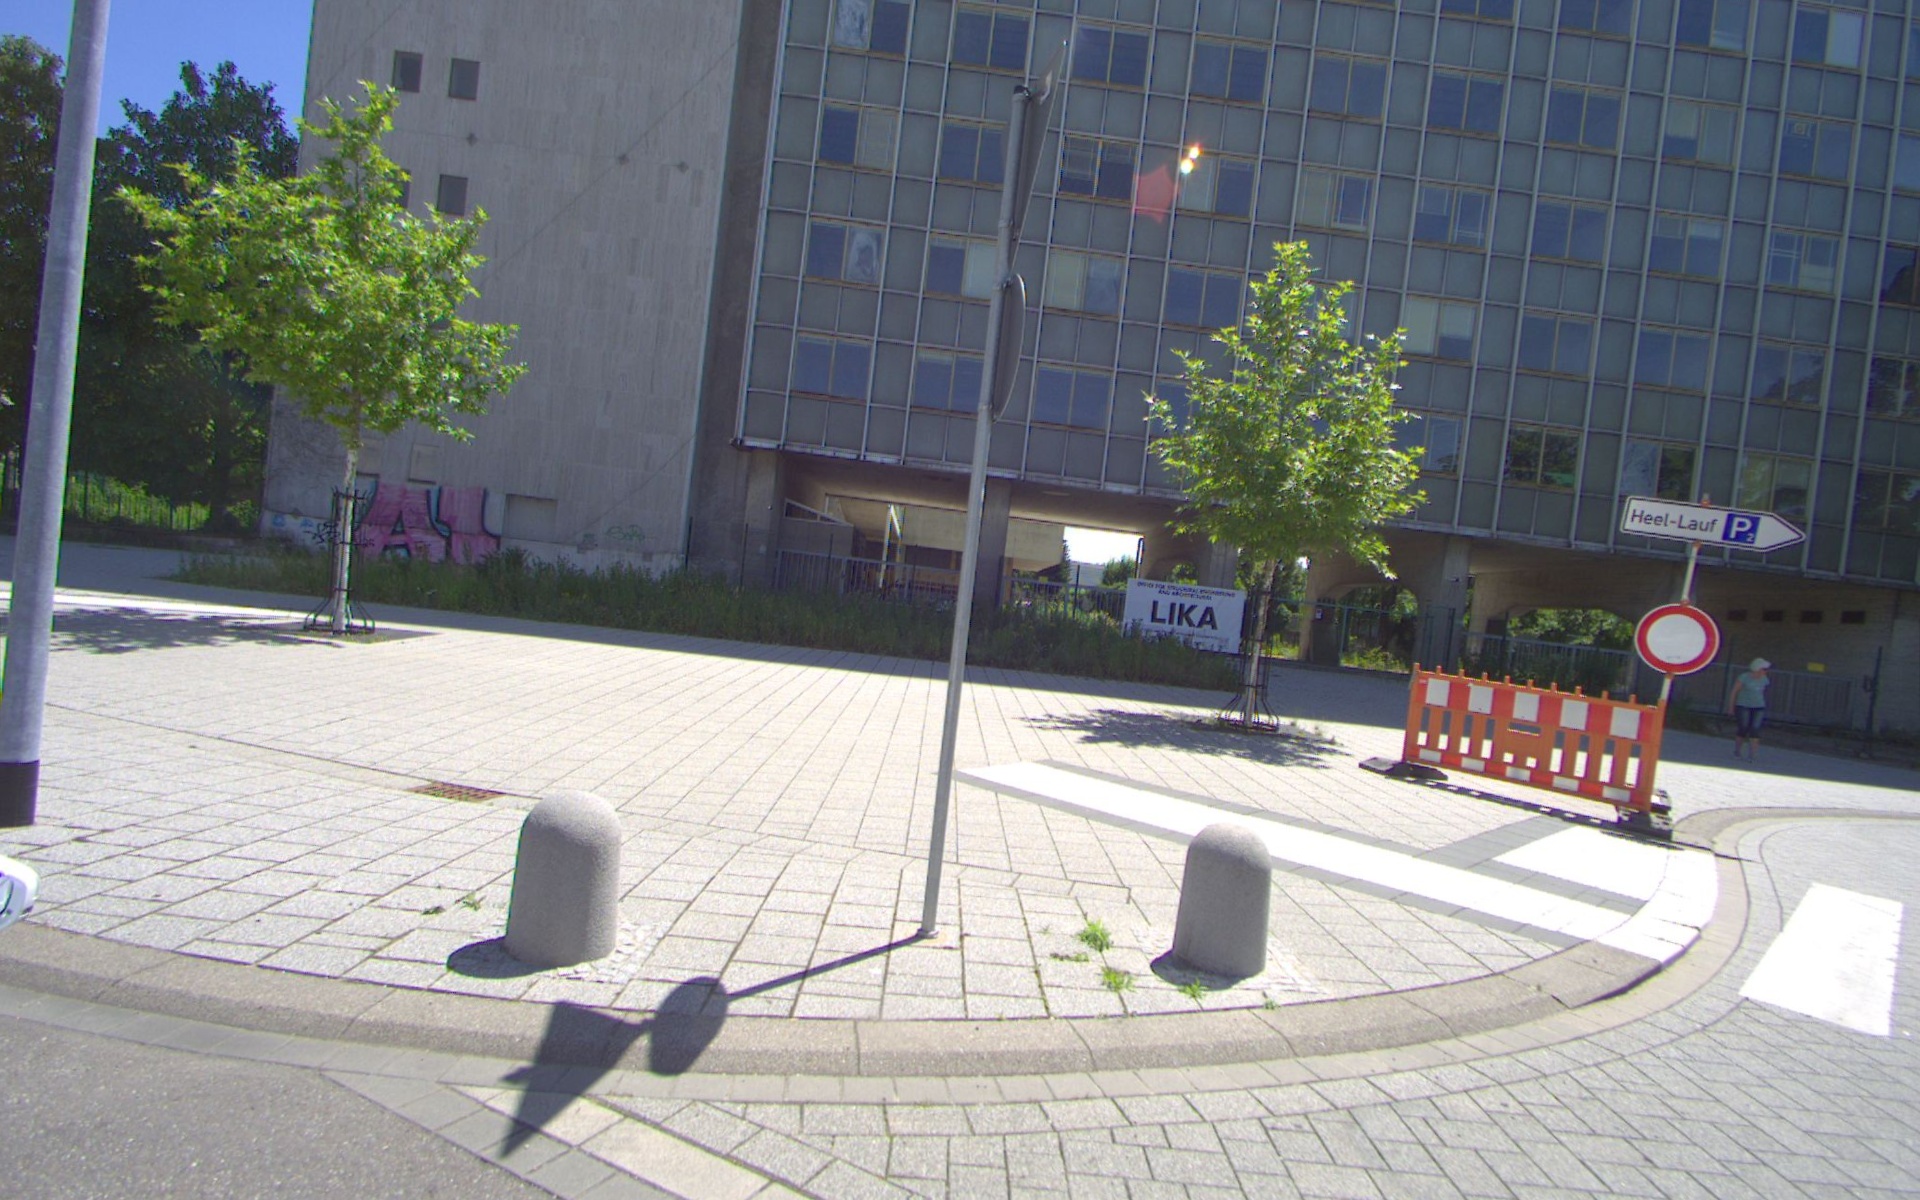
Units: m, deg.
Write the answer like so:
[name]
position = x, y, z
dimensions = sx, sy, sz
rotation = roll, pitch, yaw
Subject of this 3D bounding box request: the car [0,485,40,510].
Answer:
[car]
position = -64.365, -7.018, 68.671
dimensions = 1.726, 1.455, 3.676
rotation = 5, 2, -34

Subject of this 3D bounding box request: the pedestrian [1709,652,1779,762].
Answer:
[pedestrian]
position = 13.139, 1.787, 16.873
dimensions = 0.555, 1.732, 0.486
rotation = 6, 4, 6

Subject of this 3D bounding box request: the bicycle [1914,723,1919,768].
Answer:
[bicycle]
position = 19.369, 2.899, 19.084
dimensions = 0.442, 0.919, 1.745
rotation = 6, 1, -21
